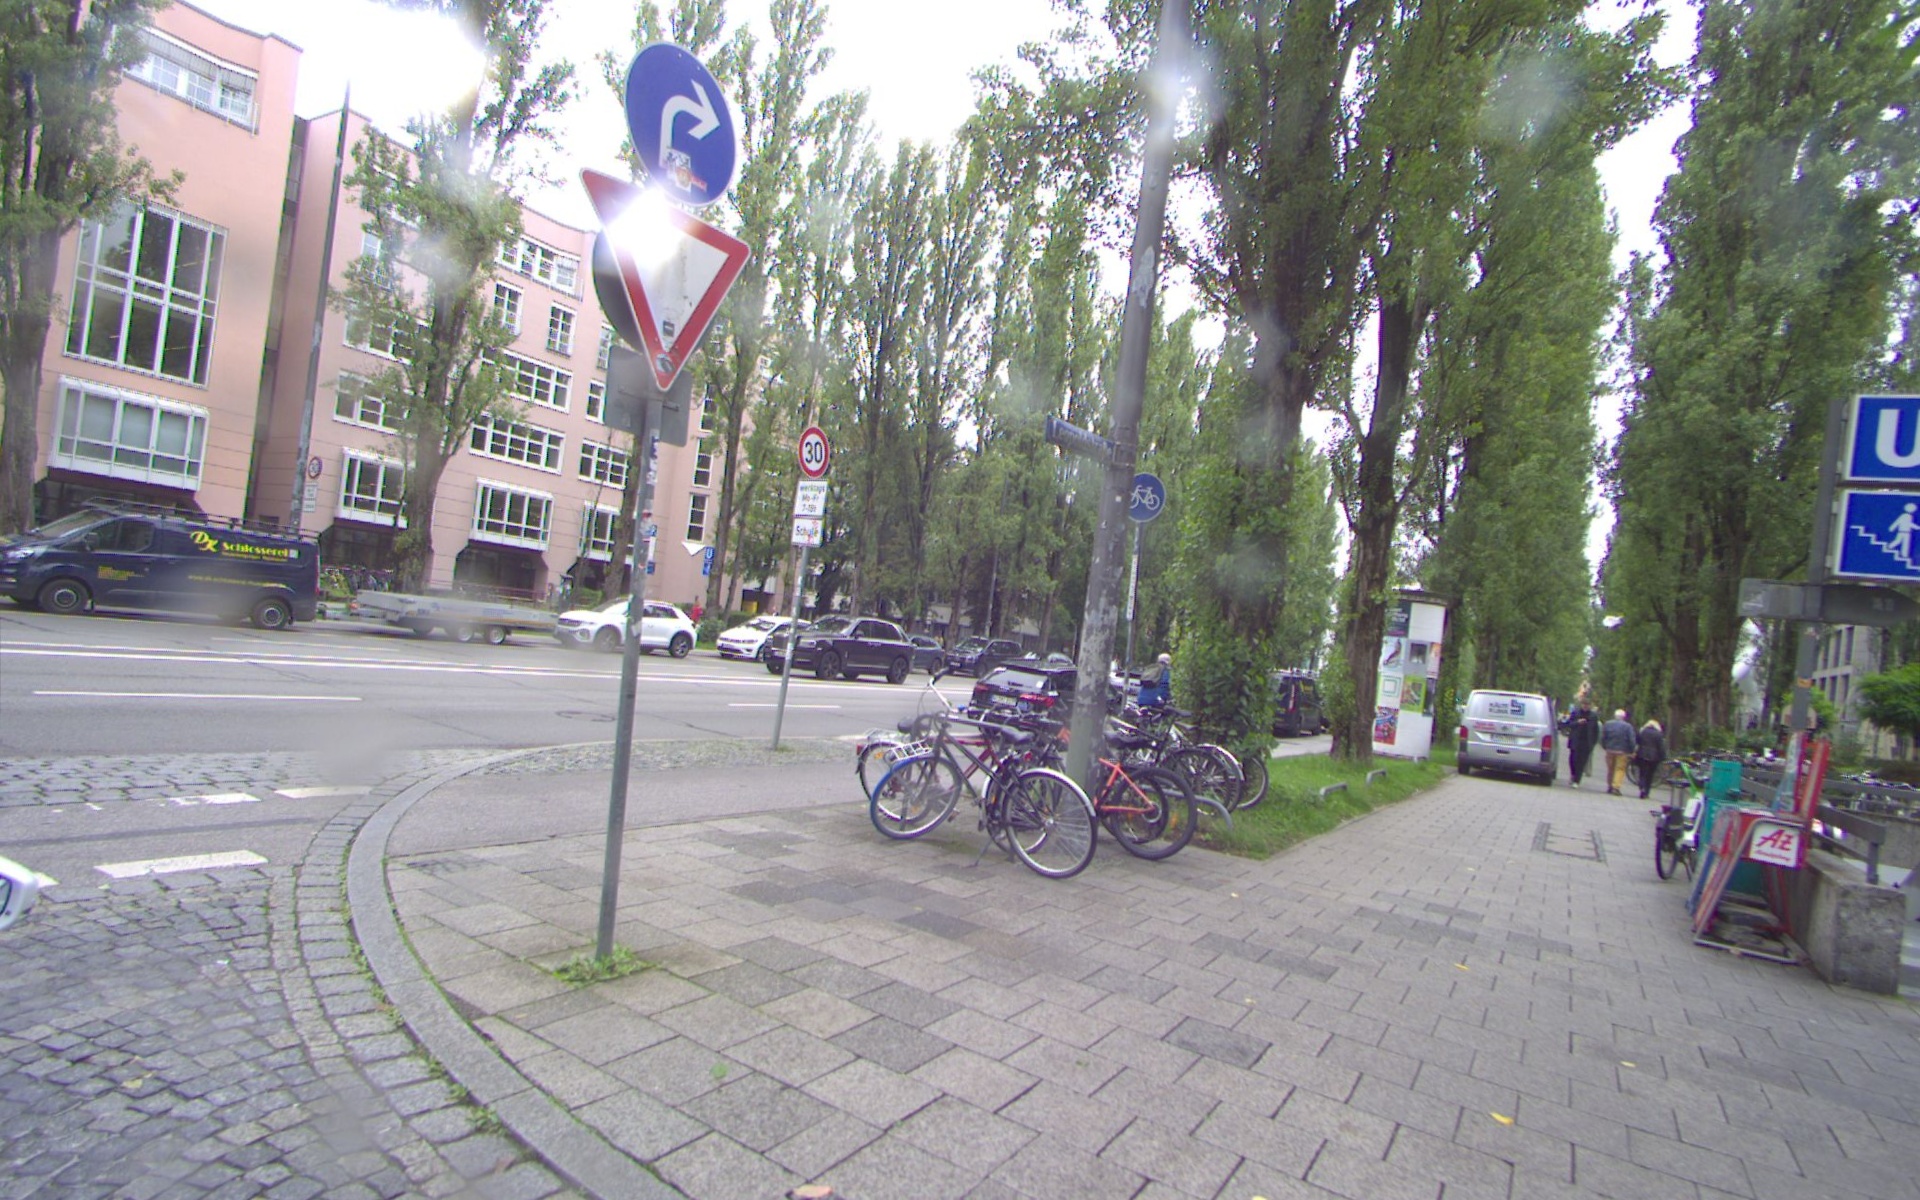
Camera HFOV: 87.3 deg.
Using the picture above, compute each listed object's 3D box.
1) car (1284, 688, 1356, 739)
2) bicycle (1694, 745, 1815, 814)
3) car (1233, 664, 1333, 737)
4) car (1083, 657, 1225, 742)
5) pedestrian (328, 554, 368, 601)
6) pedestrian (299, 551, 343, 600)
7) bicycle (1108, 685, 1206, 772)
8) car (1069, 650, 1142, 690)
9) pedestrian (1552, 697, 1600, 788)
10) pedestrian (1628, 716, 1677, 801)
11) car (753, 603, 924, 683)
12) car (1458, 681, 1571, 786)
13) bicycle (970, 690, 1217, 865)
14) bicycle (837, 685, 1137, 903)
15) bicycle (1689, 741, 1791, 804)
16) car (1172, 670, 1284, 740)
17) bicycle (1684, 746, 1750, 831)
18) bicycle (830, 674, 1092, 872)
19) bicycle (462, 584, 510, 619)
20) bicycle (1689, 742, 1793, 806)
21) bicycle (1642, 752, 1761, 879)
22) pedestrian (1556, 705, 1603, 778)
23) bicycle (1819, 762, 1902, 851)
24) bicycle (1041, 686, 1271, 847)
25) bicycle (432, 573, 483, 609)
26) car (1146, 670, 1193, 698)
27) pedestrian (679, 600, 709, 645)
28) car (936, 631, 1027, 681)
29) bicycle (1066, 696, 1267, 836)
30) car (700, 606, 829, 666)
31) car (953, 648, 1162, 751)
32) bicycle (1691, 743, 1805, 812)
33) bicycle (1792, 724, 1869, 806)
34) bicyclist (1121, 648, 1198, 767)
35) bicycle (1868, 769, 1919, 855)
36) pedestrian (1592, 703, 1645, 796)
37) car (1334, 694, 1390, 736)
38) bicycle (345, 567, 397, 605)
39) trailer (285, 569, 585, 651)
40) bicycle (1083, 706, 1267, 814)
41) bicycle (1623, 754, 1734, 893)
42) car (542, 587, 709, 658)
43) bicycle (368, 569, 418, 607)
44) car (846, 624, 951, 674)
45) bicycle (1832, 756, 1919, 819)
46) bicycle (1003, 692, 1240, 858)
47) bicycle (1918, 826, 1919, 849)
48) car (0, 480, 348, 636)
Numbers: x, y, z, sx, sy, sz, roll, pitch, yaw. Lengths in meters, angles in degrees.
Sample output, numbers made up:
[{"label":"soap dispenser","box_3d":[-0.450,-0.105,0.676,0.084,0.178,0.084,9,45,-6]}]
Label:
[{"label":"car","box_3d":[13.638,4.293,38.009,1.719,1.544,3.948,8,-2,30]},{"label":"bicycle","box_3d":[17.842,4.016,22.654,1.999,1.173,0.586,6,-2,34]},{"label":"car","box_3d":[10.639,3.309,32.885,1.884,1.946,5.035,8,-2,30]},{"label":"car","box_3d":[4.514,2.301,22.971,1.720,1.544,3.902,8,-2,33]},{"label":"pedestrian","box_3d":[-19.541,-0.713,32.134,0.698,1.385,0.730,6,-1,33]},{"label":"pedestrian","box_3d":[-19.979,-0.760,31.460,0.718,1.385,0.710,7,-1,3]},{"label":"bicycle","box_3d":[2.993,1.939,15.140,0.708,1.160,1.898,3,-5,33]},{"label":"car","box_3d":[7.608,3.656,52.213,1.967,1.661,4.544,5,-3,32]},{"label":"pedestrian","box_3d":[13.539,3.112,22.101,0.689,1.862,0.705,6,-1,35]},{"label":"pedestrian","box_3d":[14.465,3.295,21.011,0.687,1.624,0.831,6,-2,37]},{"label":"car","box_3d":[-3.249,1.272,28.155,1.967,1.768,5.058,4,-3,31]},{"label":"car","box_3d":[12.907,3.030,23.245,1.785,1.918,5.194,7,-2,33]},{"label":"bicycle","box_3d":[1.036,1.365,8.056,1.846,1.062,0.475,5,-2,34]},{"label":"bicycle","box_3d":[0.148,1.208,6.613,1.843,1.063,0.476,6,-1,27]},{"label":"bicycle","box_3d":[19.123,4.216,24.705,1.839,1.173,0.586,7,-2,34]},{"label":"car","box_3d":[7.514,2.938,27.921,1.719,1.544,4.230,8,-2,31]},{"label":"bicycle","box_3d":[12.275,3.026,16.352,0.578,1.173,1.982,6,-2,32]},{"label":"bicycle","box_3d":[-0.030,1.210,7.370,1.846,1.063,0.475,7,-1,34]},{"label":"bicycle","box_3d":[-18.613,0.062,39.477,1.956,1.137,0.675,6,-1,33]},{"label":"bicycle","box_3d":[18.741,4.148,24.186,1.839,1.173,0.586,6,-1,34]},{"label":"bicycle","box_3d":[8.541,2.434,11.665,0.577,1.173,1.870,7,-2,23]},{"label":"pedestrian","box_3d":[17.605,4.007,28.589,0.905,1.888,1.011,6,-2,37]},{"label":"bicycle","box_3d":[14.328,3.252,16.044,0.578,1.173,1.866,6,-2,32]},{"label":"bicycle","box_3d":[1.753,1.469,9.164,1.899,1.118,0.512,5,-2,32]},{"label":"bicycle","box_3d":[-19.335,-0.342,38.667,2.072,1.137,0.675,6,-1,33]},{"label":"car","box_3d":[14.137,5.658,67.795,1.738,1.598,3.965,6,-1,32]},{"label":"pedestrian","box_3d":[-10.982,0.915,41.557,0.698,1.733,0.730,6,-1,33]},{"label":"car","box_3d":[1.054,2.632,46.737,1.967,1.818,4.756,6,-2,31]},{"label":"bicycle","box_3d":[2.008,1.599,9.945,1.806,1.050,0.512,5,-2,37]},{"label":"car","box_3d":[-6.569,1.273,34.310,1.965,1.559,4.324,7,-2,27]},{"label":"car","box_3d":[1.935,1.883,18.545,1.729,1.443,4.439,8,-2,35]},{"label":"bicycle","box_3d":[17.330,3.888,22.174,1.839,1.173,0.586,6,-2,34]},{"label":"bicycle","box_3d":[14.181,2.661,16.436,0.578,1.173,1.866,6,-2,32]},{"label":"bicyclist","box_3d":[2.981,1.600,15.027,0.713,1.638,0.755,7,-1,34]},{"label":"bicycle","box_3d":[14.838,3.306,15.702,0.578,1.173,1.866,6,-2,32]},{"label":"pedestrian","box_3d":[13.934,3.155,21.279,0.739,1.824,0.841,6,-2,37]},{"label":"car","box_3d":[18.617,5.312,46.500,1.719,1.609,3.948,8,-2,30]},{"label":"bicycle","box_3d":[-21.050,-0.514,35.926,1.956,1.137,0.675,6,-1,33]},{"label":"trailer","box_3d":[-12.462,0.328,24.435,2.365,1.213,6.029,6,-2,33]},{"label":"bicycle","box_3d":[2.240,1.655,10.637,1.806,0.827,0.470,5,-2,37]},{"label":"bicycle","box_3d":[7.239,2.190,10.098,0.580,1.173,1.861,6,-2,43]},{"label":"car","box_3d":[-9.473,0.684,28.778,1.778,1.559,4.226,5,-3,34]},{"label":"bicycle","box_3d":[-20.632,-0.439,36.588,1.957,1.137,0.675,6,-1,33]},{"label":"car","box_3d":[-2.433,2.034,40.864,1.967,1.559,4.318,6,-2,33]},{"label":"bicycle","box_3d":[19.624,3.999,21.595,0.577,1.171,1.874,7,-5,18]},{"label":"bicycle","box_3d":[1.325,1.416,8.458,1.846,1.062,0.475,5,-2,34]},{"label":"bicycle","box_3d":[15.348,3.363,15.375,0.578,1.173,1.866,6,-2,32]},{"label":"car","box_3d":[-15.397,-0.701,19.585,1.990,2.222,5.489,6,-2,32]}]
